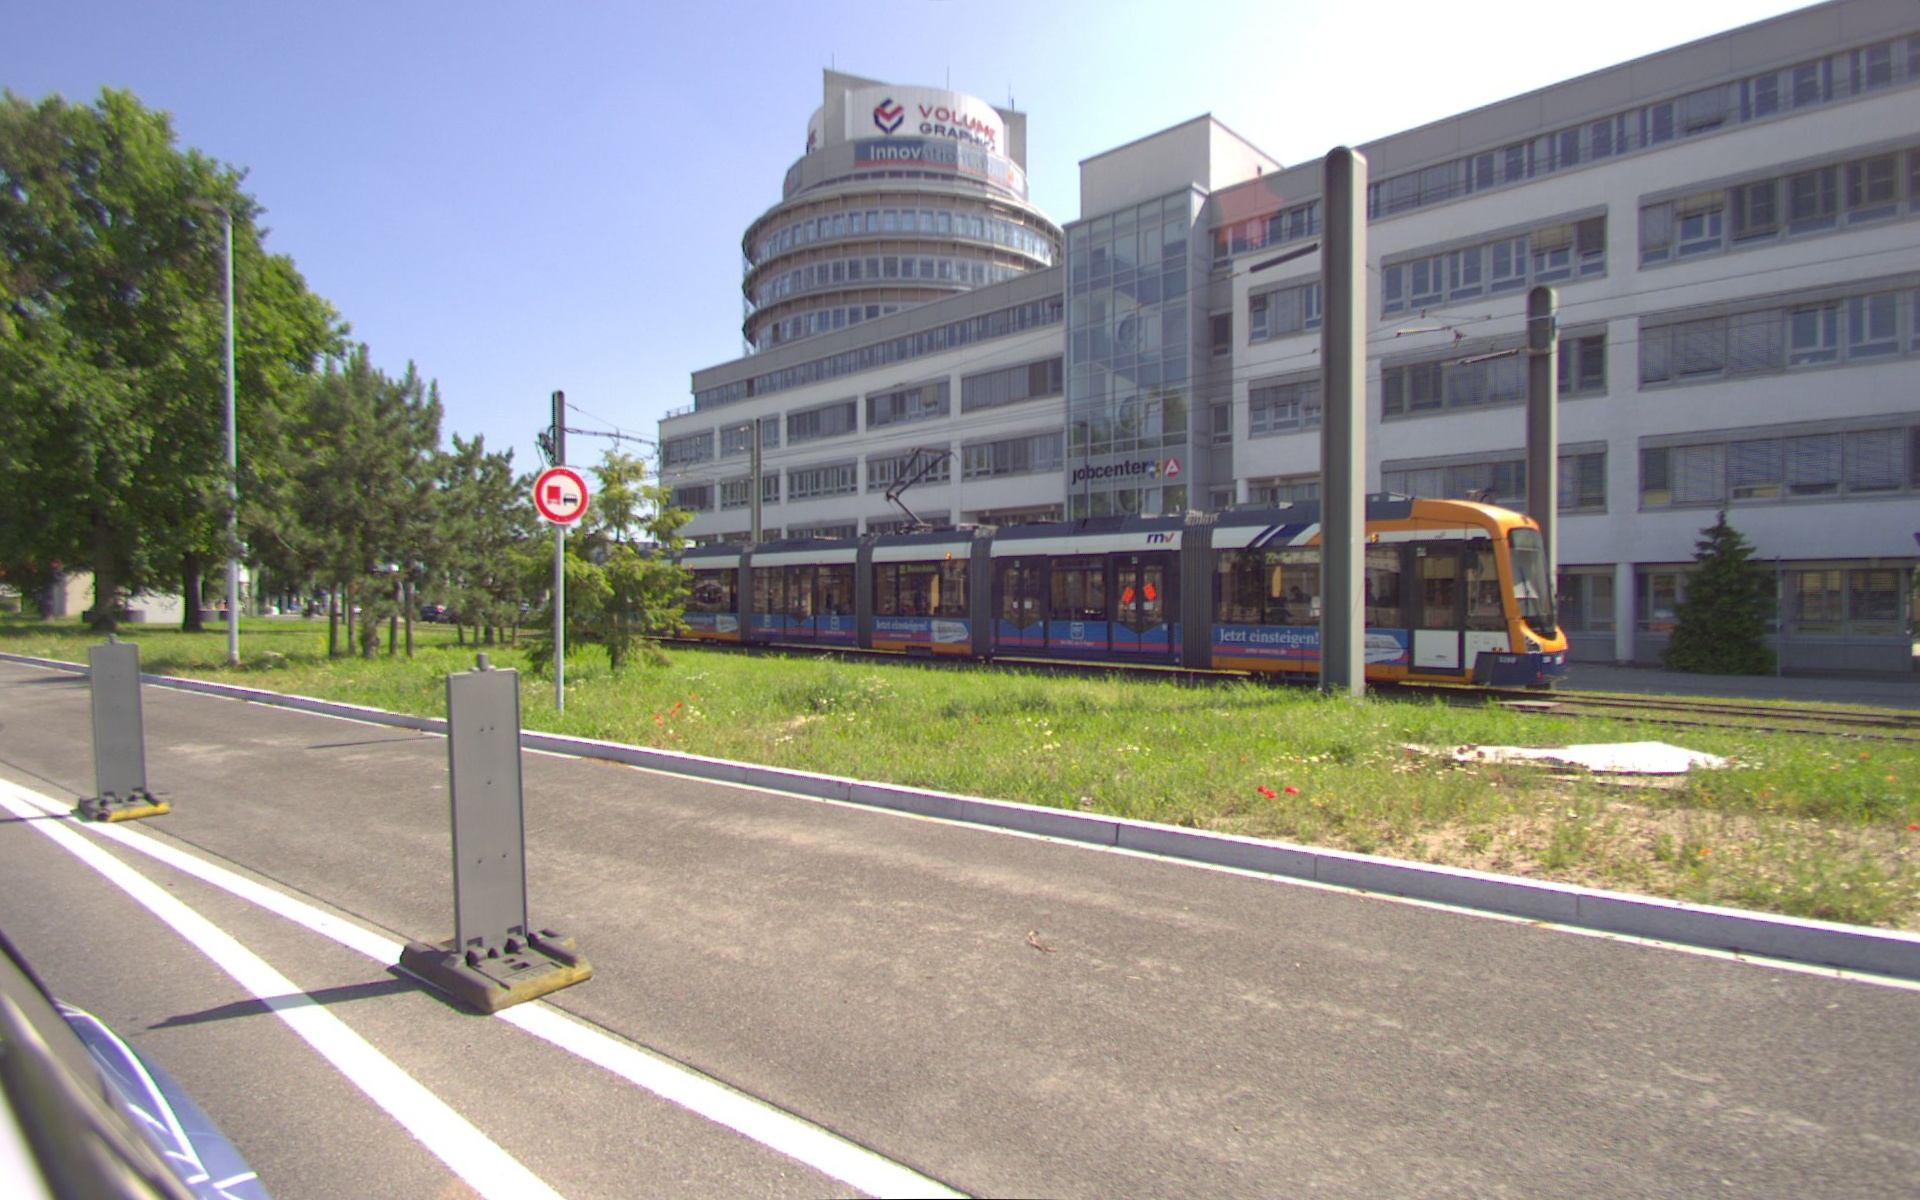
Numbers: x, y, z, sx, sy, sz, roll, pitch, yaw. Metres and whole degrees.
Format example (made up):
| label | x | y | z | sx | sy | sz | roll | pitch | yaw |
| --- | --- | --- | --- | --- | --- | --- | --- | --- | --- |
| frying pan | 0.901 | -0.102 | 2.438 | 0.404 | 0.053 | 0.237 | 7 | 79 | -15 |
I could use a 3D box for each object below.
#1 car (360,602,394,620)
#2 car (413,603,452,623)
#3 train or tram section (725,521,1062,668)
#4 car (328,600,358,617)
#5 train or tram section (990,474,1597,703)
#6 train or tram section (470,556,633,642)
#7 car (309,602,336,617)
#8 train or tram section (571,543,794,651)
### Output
| label | x | y | z | sx | sy | sz | roll | pitch | yaw |
| --- | --- | --- | --- | --- | --- | --- | --- | --- | --- |
| car | -50.231 | 0.917 | 87.181 | 1.863 | 1.513 | 3.808 | -1 | 1 | -42 |
| car | -39.524 | 0.964 | 75.830 | 1.862 | 1.386 | 3.810 | -1 | 1 | -39 |
| train or tram section | -2.457 | -0.155 | 29.015 | 2.594 | 3.476 | 11.790 | -2 | 1 | -44 |
| car | -59.459 | 0.826 | 97.547 | 1.863 | 1.513 | 3.809 | -1 | 1 | -41 |
| train or tram section | 5.750 | -0.197 | 20.477 | 2.594 | 3.476 | 11.790 | -2 | 1 | -44 |
| train or tram section | -18.863 | -0.076 | 46.104 | 2.594 | 3.476 | 11.790 | -2 | 1 | -44 |
| car | -67.752 | 1.027 | 107.514 | 1.863 | 1.513 | 3.809 | -1 | 1 | -41 |
| train or tram section | -10.660 | -0.123 | 37.571 | 2.594 | 3.476 | 11.790 | -2 | 1 | -44 |
